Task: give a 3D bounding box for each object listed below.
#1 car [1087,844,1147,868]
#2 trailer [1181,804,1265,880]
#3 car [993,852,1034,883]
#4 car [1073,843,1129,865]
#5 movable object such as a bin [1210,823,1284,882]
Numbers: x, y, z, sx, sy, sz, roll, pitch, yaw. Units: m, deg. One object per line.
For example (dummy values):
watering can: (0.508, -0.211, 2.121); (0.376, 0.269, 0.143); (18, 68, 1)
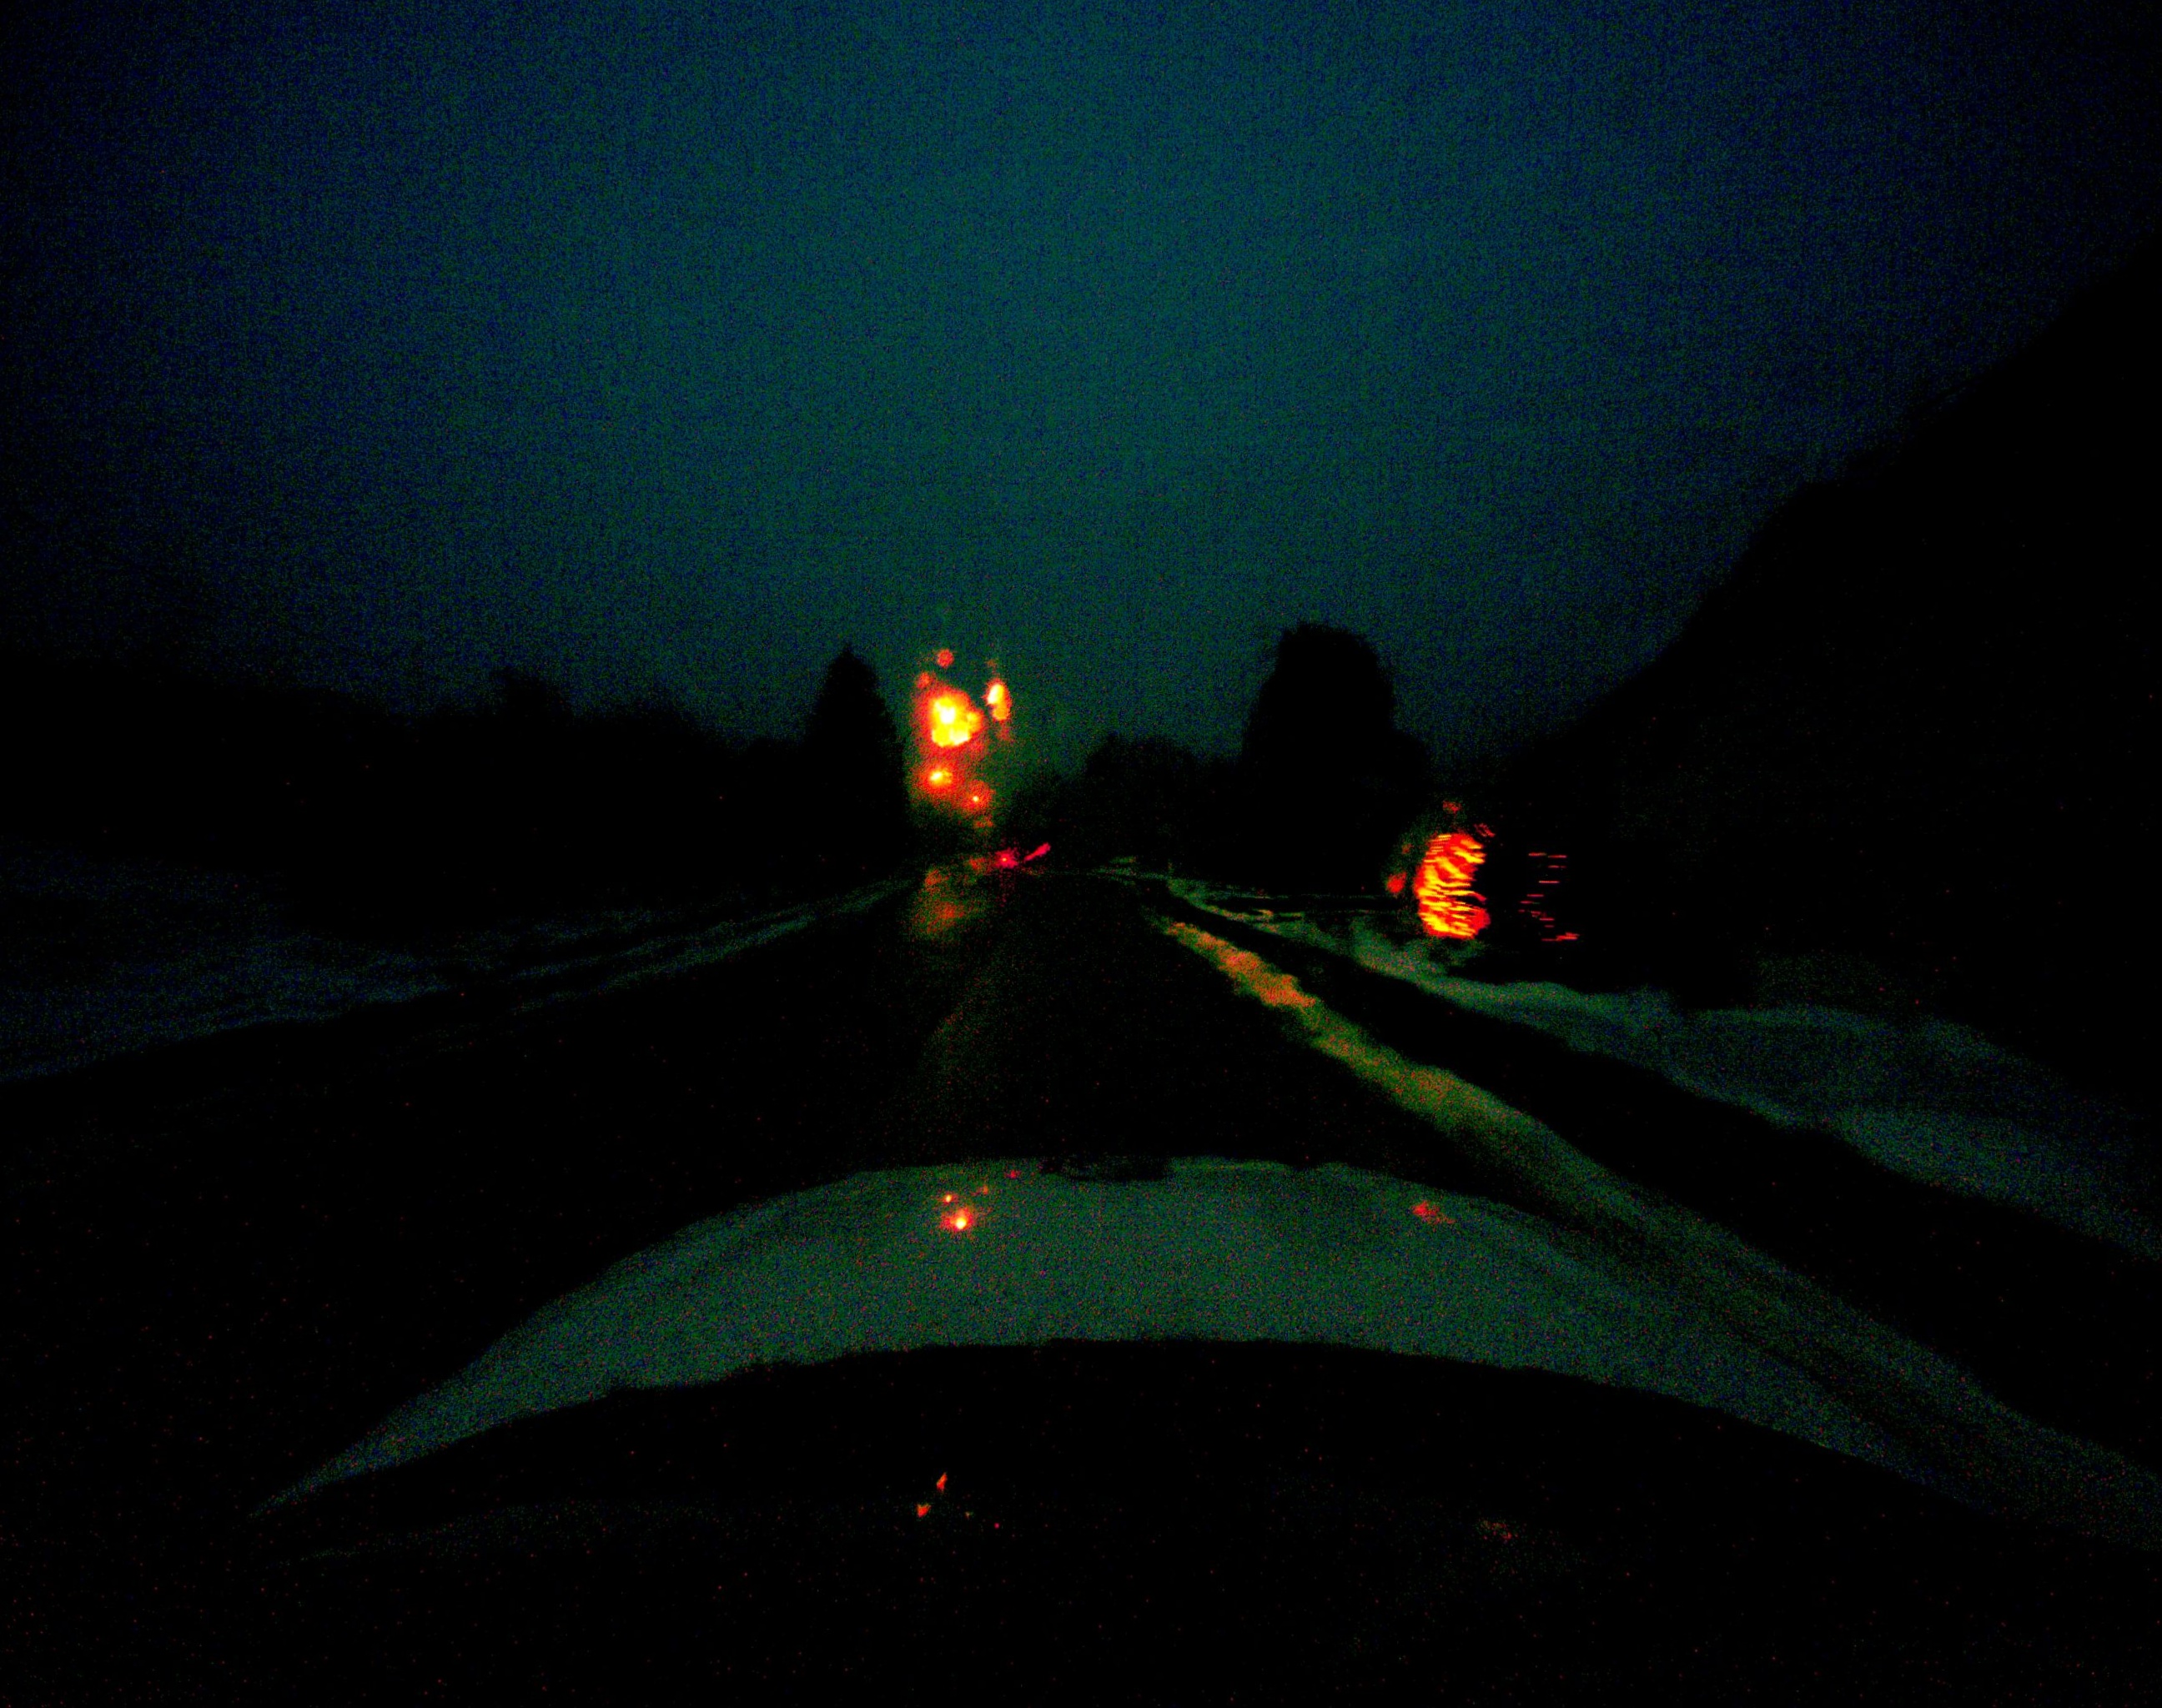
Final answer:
car: (2.615, 0.172, 59.203); (4.226, 1.559, 2.001); (-1, -2, 2)
trailer: (7.113, -0.552, 41.515); (2.872, 3.560, 5.049); (1, -1, -7)
car: (-4.085, 0.823, 48.846); (1.995, 1.737, 3.862); (0, -2, -12)
car: (1.517, 0.042, 62.147); (4.148, 1.559, 1.944); (-1, -2, -3)
movable object such as a bin: (7.417, -0.025, 36.911); (2.380, 2.469, 4.514); (1, -1, -1)
